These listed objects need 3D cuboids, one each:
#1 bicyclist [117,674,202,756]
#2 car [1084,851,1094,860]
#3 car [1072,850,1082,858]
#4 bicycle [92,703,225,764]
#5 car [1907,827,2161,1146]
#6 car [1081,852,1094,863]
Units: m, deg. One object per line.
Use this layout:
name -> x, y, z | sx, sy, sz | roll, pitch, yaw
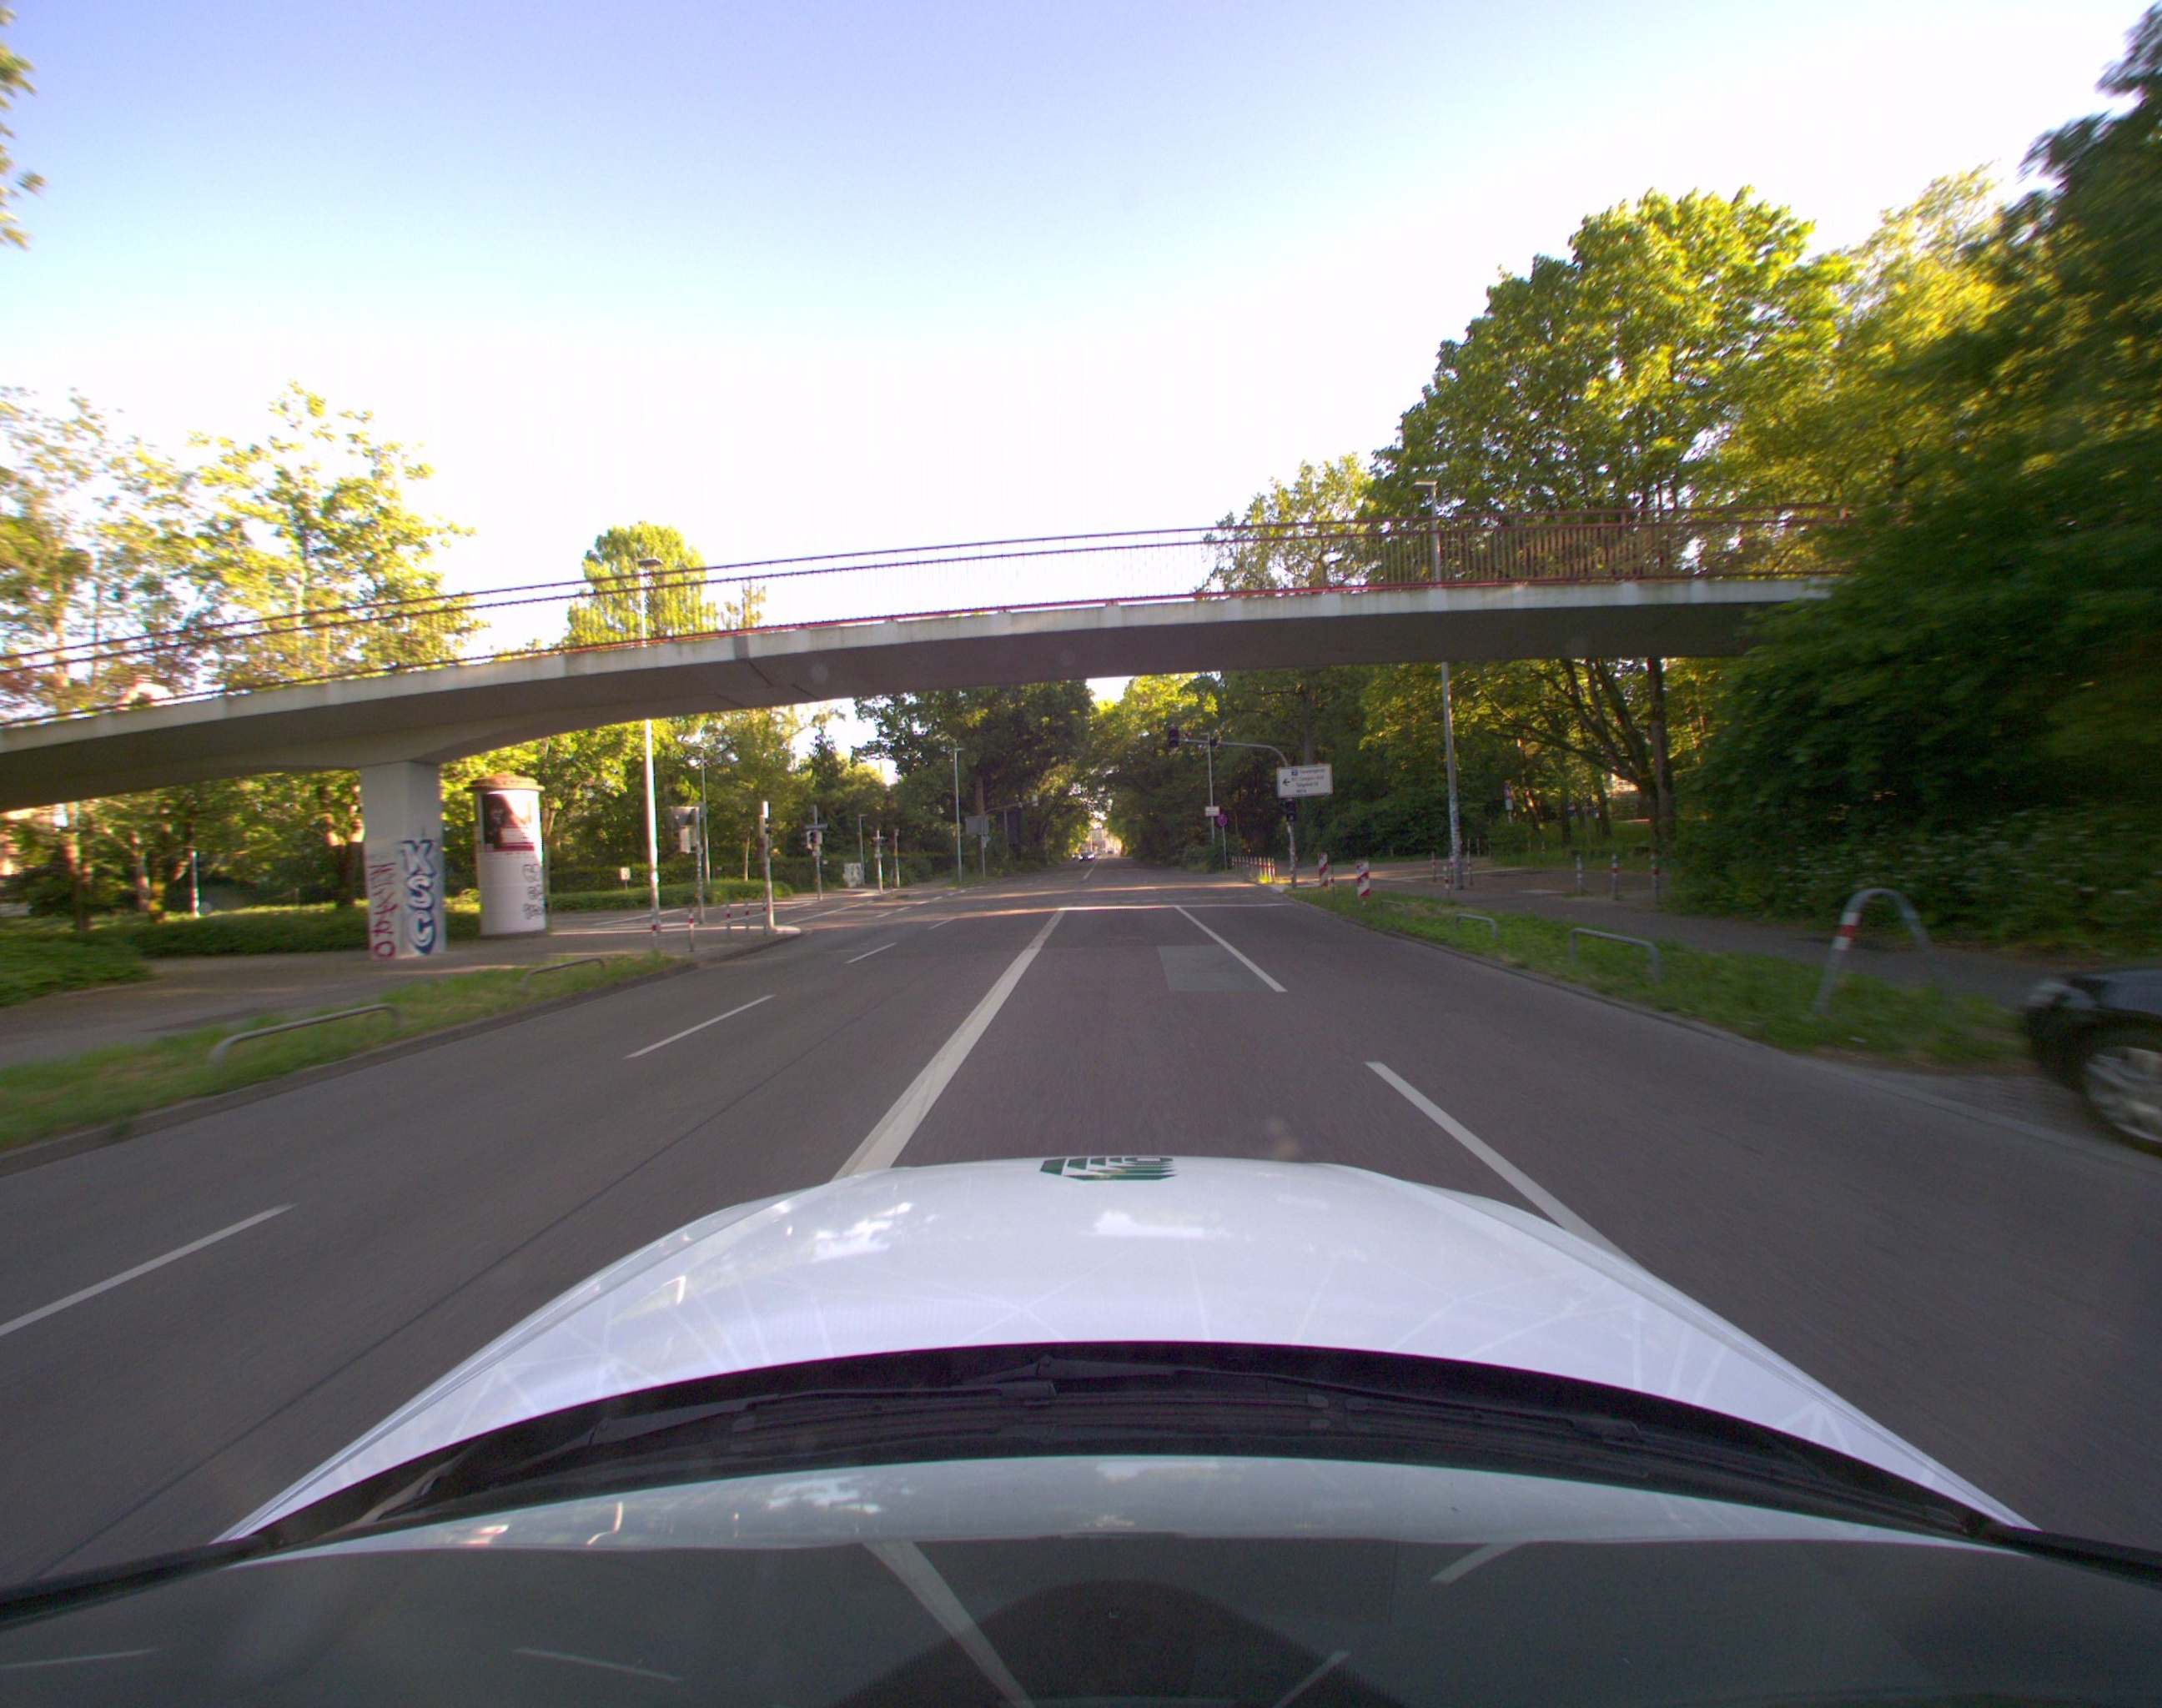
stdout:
bicyclist -> -19.580, -2.937, 17.321 | 0.967, 1.586, 0.714 | -1, -1, 0
car -> 1.517, 0.270, 149.860 | 1.791, 1.506, 4.364 | -3, 0, 1
car -> -0.767, -0.084, 165.931 | 1.791, 1.506, 4.364 | -3, 0, 1
bicycle -> -19.584, -2.558, 17.318 | 1.981, 1.147, 0.714 | -1, -1, -1
car -> 5.901, 0.598, 2.780 | 1.767, 1.453, 4.390 | -3, 0, 2
car -> 0.965, 0.553, 125.770 | 1.881, 1.506, 4.364 | -3, 0, 1
